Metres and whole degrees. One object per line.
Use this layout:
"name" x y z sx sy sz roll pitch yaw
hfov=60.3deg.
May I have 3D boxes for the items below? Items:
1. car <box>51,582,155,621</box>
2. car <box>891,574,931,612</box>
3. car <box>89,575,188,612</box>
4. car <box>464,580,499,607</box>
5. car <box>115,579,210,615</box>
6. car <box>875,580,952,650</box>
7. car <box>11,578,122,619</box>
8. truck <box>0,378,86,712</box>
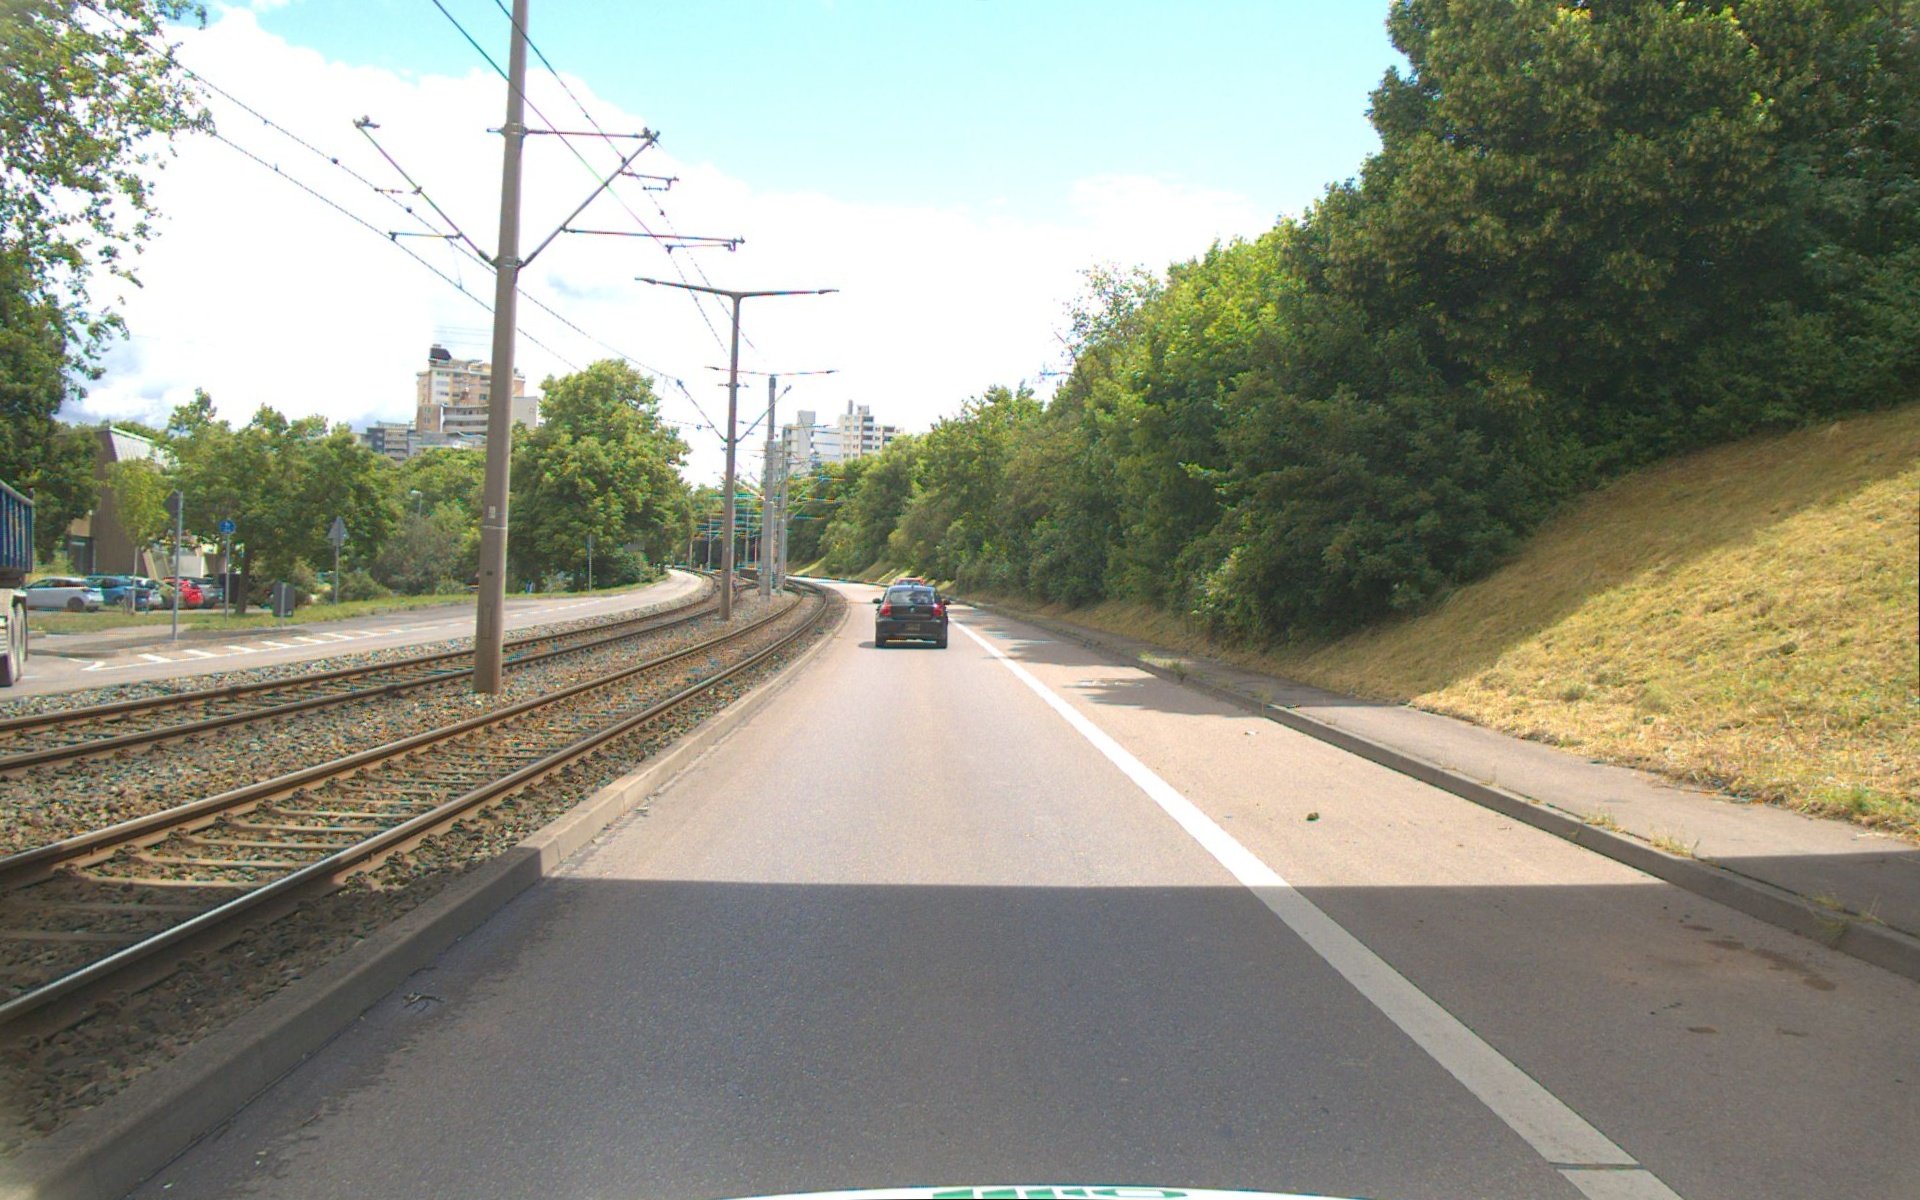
"car" -40.190 0.063 77.628 3.873 1.607 1.870 3 1 1
"car" -2.115 -0.288 72.342 1.591 1.469 3.421 3 -1 0
"car" -40.879 -0.354 82.403 3.873 1.607 1.997 3 1 1
"car" -34.242 -0.467 118.359 1.781 1.802 3.994 0 1 -7
"car" -40.869 -0.162 84.816 3.873 1.607 1.997 3 1 1
"car" -1.087 0.351 39.285 1.674 1.485 3.959 3 0 -1
"car" -39.586 -0.079 73.354 3.840 1.607 1.840 3 1 -6
"truck" -12.554 -0.606 19.748 2.833 3.377 8.965 4 -1 -23
